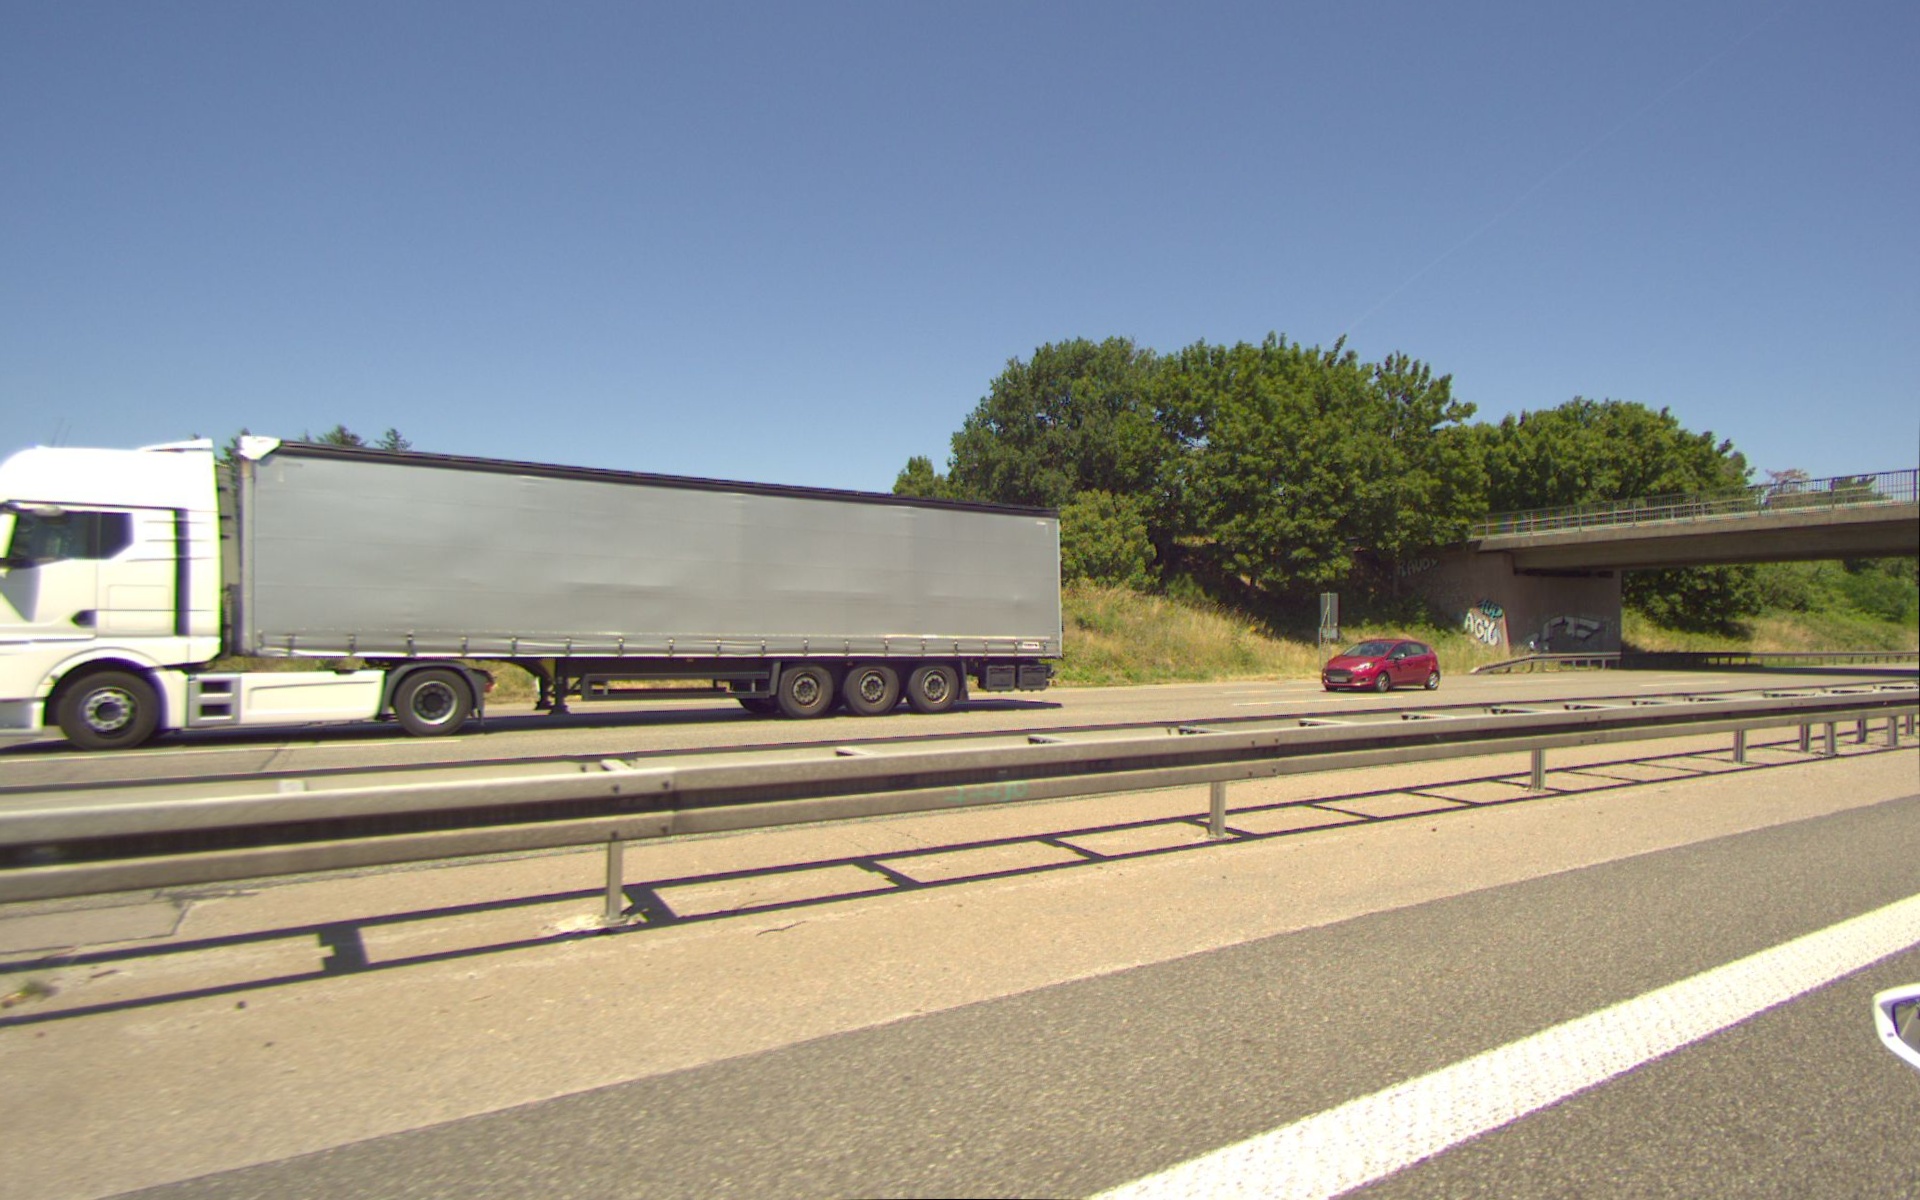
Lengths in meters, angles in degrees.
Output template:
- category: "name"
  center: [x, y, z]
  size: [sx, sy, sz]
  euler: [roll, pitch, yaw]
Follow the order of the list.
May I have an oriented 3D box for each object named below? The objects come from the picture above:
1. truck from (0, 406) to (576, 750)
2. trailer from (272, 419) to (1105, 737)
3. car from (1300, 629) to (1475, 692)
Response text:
- category: "truck"
  center: [-9.442, -0.137, 14.485]
  size: [6.874, 4.011, 2.934]
  euler: [1, -3, -31]
- category: "trailer"
  center: [-3.745, -0.076, 18.030]
  size: [13.943, 4.161, 2.934]
  euler: [1, -3, -32]
- category: "car"
  center: [12.028, 1.658, 28.223]
  size: [4.734, 1.632, 2.217]
  euler: [1, -3, -32]
